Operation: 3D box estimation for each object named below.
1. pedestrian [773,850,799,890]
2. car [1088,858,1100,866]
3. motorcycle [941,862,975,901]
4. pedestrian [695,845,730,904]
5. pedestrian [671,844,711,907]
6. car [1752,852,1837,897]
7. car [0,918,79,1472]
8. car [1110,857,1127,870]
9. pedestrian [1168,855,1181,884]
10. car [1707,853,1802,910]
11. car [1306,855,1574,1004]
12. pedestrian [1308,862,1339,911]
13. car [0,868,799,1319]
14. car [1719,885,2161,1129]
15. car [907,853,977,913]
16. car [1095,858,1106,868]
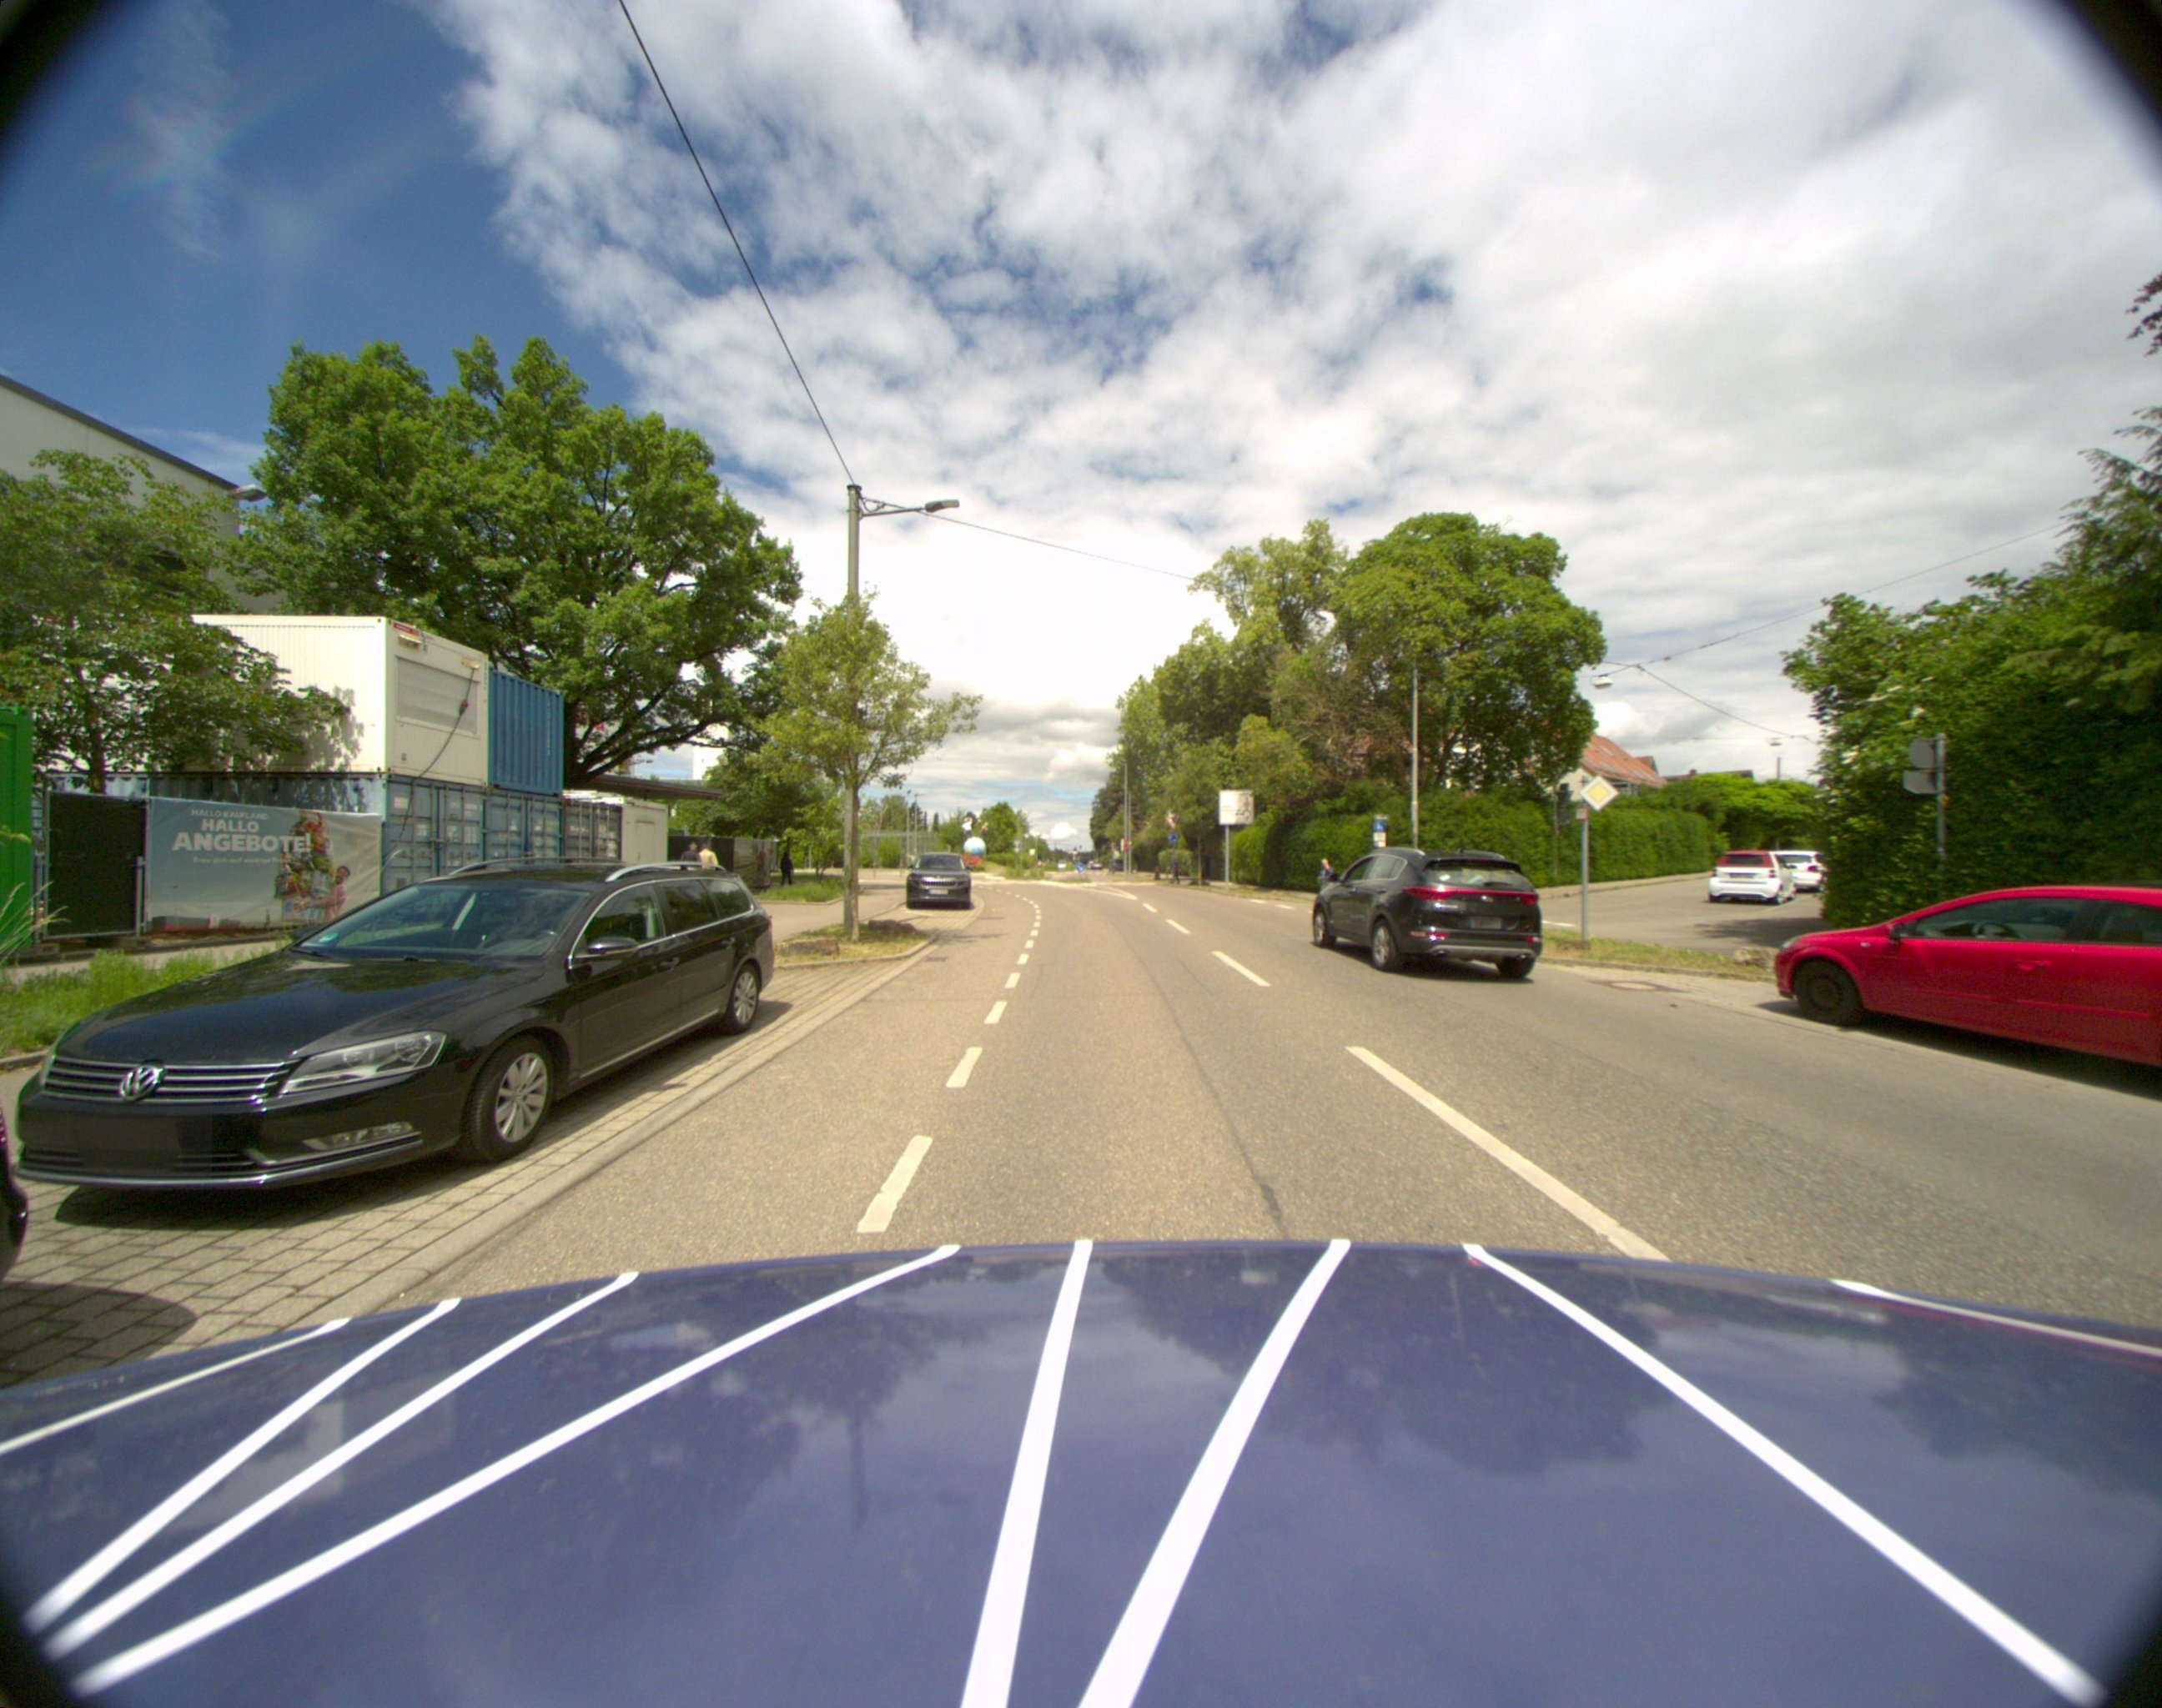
[{"bbox_3d":[-12.052,0.655,31.041,0.744,1.608,0.767,0,1,-2],"label":"pedestrian"},{"bbox_3d":[2.839,1.816,165.339,2.000,1.696,3.998,1,0,-6],"label":"car"},{"bbox_3d":[-4.461,0.964,27.474,1.075,1.298,2.258,3,0,-11],"label":"motorcycle"},{"bbox_3d":[-10.754,0.592,22.189,0.652,1.686,0.724,0,1,-2],"label":"pedestrian"},{"bbox_3d":[-10.585,0.574,20.653,0.653,1.687,0.844,0,1,-2],"label":"pedestrian"},{"bbox_3d":[25.509,0.692,27.138,3.541,1.447,1.711,-1,1,-38],"label":"car"},{"bbox_3d":[-3.748,0.924,0.222,1.572,1.484,4.000,1,0,2],"label":"car"},{"bbox_3d":[4.671,1.174,95.158,1.681,1.652,3.998,1,0,-5],"label":"car"},{"bbox_3d":[5.552,0.911,45.142,0.745,1.681,0.694,0,1,0],"label":"pedestrian"},{"bbox_3d":[20.074,0.768,22.648,2.783,1.547,1.585,-1,1,-37],"label":"car"},{"bbox_3d":[4.740,0.867,10.815,1.838,1.607,4.152,3,0,1],"label":"car"},{"bbox_3d":[7.698,1.014,24.072,0.732,1.500,0.626,-1,1,-36],"label":"pedestrian"},{"bbox_3d":[-3.752,0.933,5.251,1.769,1.468,4.935,3,0,-1],"label":"car"},{"bbox_3d":[7.746,1.049,5.994,1.664,1.370,4.566,-1,0,1],"label":"car"},{"bbox_3d":[-4.268,0.824,23.682,1.885,1.612,4.842,2,0,-9],"label":"car"},{"bbox_3d":[3.413,1.567,134.228,1.862,1.568,3.999,0,0,0],"label":"car"}]
